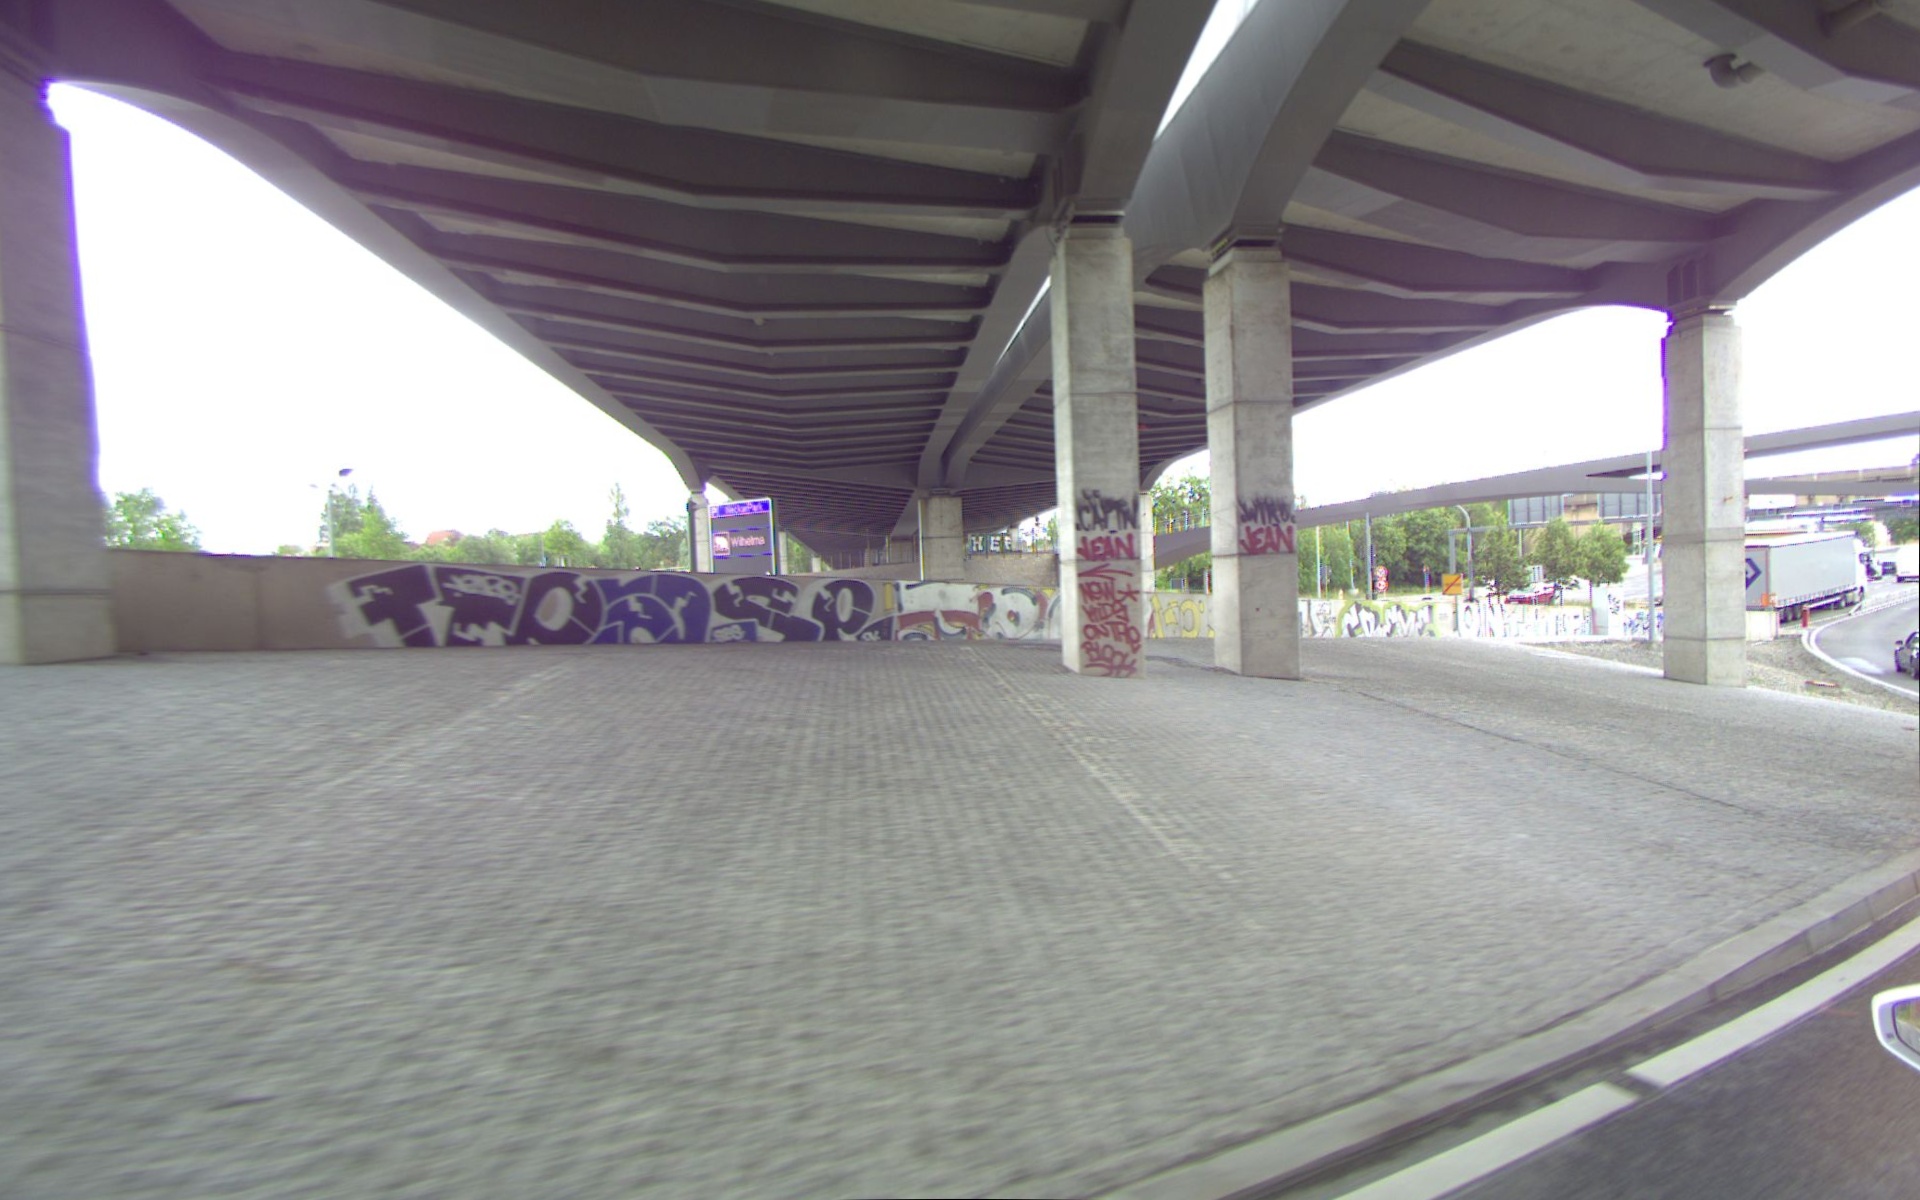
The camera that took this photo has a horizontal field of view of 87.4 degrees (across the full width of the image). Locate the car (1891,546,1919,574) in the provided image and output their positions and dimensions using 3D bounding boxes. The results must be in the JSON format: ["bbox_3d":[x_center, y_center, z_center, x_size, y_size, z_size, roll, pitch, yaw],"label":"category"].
[{"bbox_3d":[74.232,-3.099,78.542,4.455,2.144,1.879,-1,2,-45],"label":"car"}]

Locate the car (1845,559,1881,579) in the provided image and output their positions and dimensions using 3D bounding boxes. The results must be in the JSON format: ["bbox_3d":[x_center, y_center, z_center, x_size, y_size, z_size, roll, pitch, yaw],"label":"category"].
[{"bbox_3d":[77.074,-2.651,85.709,3.963,1.642,1.633,-1,2,-38],"label":"car"}]

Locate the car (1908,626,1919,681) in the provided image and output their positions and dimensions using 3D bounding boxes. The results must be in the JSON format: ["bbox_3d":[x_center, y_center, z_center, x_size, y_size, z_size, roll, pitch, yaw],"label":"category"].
[{"bbox_3d":[29.300,1.552,29.818,1.484,1.488,3.381,-3,-1,41],"label":"car"}]

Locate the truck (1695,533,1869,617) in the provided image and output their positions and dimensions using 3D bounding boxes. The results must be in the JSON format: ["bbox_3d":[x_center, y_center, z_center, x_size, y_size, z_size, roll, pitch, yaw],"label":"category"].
[{"bbox_3d":[45.058,-1.572,54.690,16.429,3.861,3.293,-4,4,-36],"label":"truck"}]

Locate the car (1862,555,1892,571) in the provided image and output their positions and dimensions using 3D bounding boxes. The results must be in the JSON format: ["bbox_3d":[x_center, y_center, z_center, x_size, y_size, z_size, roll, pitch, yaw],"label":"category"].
[{"bbox_3d":[93.157,-3.717,102.028,3.963,1.529,1.518,-1,1,-37],"label":"car"}]
